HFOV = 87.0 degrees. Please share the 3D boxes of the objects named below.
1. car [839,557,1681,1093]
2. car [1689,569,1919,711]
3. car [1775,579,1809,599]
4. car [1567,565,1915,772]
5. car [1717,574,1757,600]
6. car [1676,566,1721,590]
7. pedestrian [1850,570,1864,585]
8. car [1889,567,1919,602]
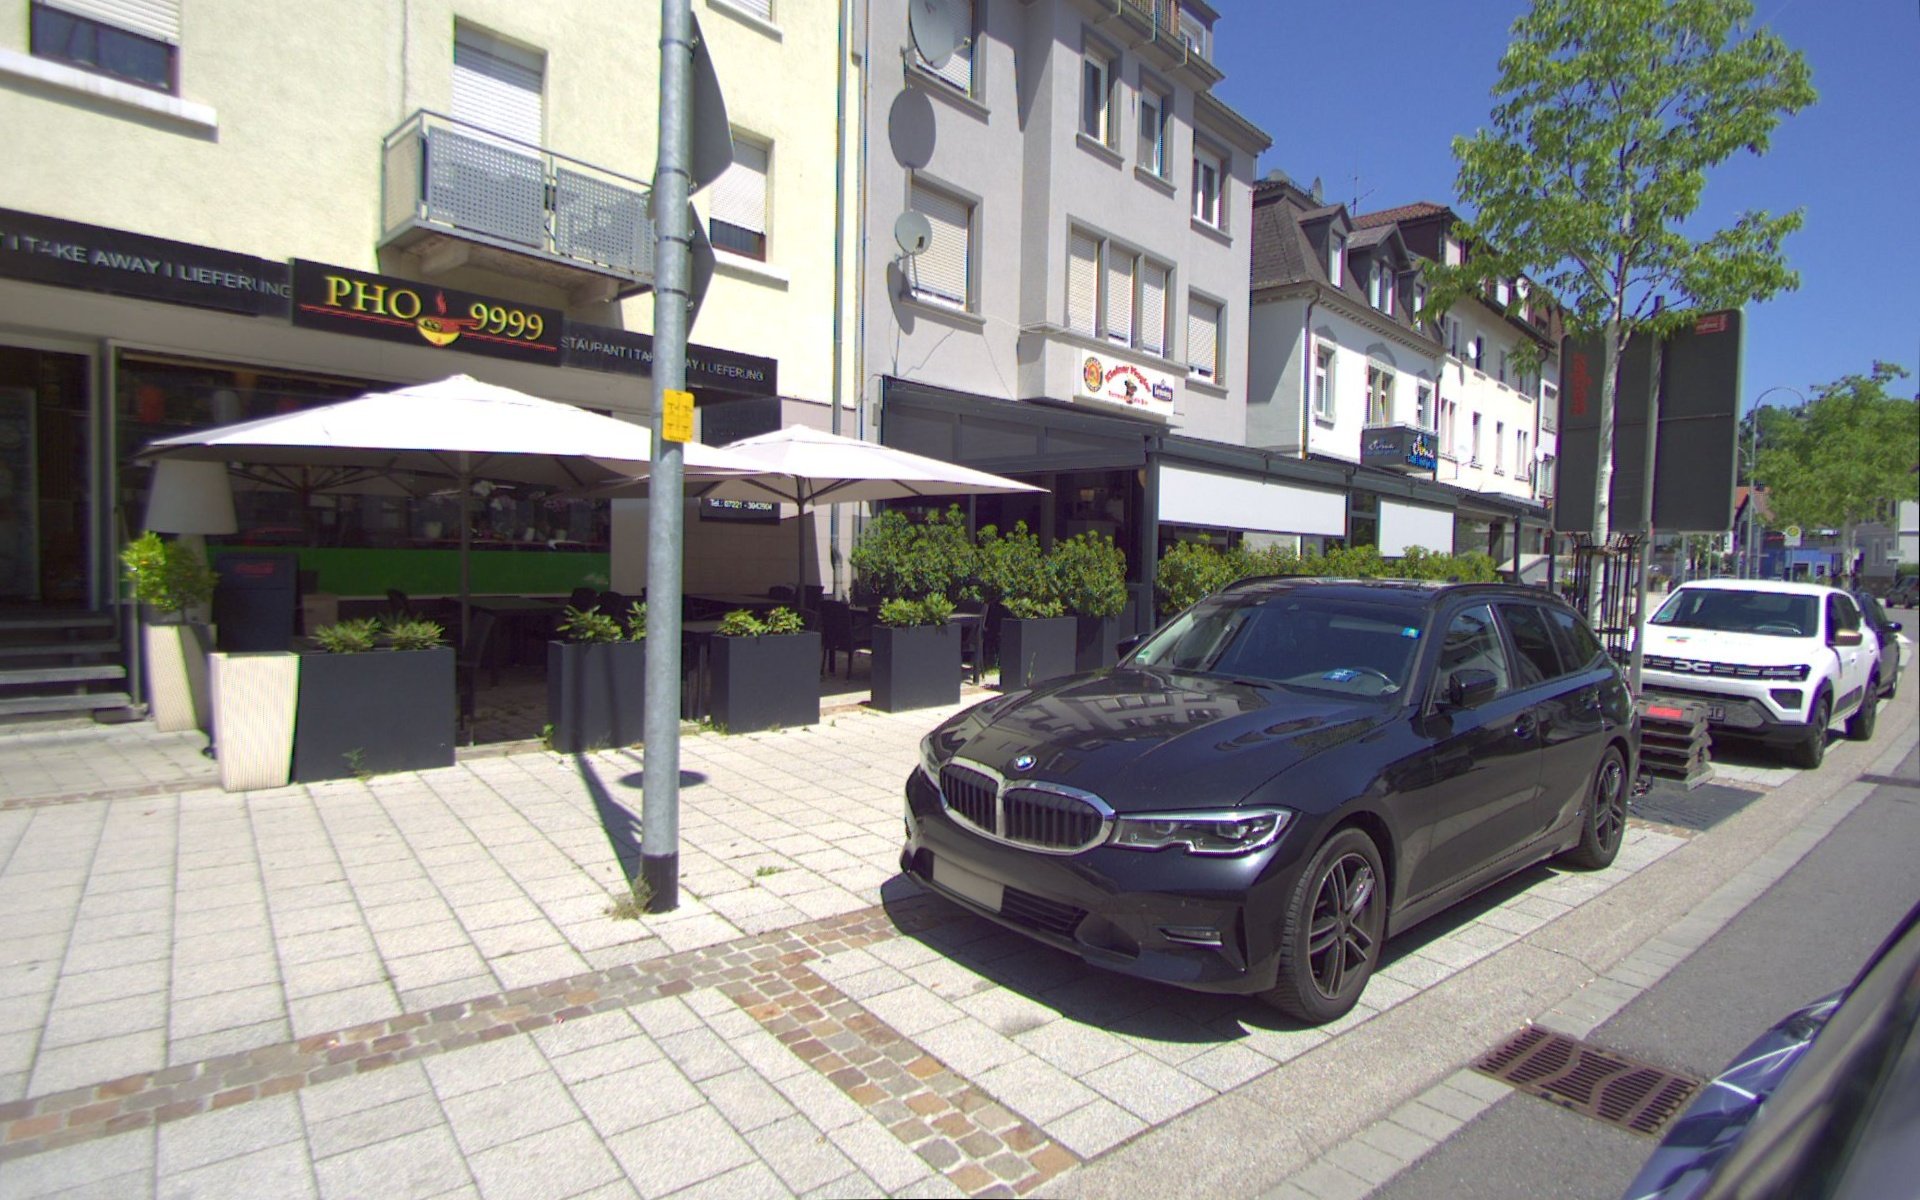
[{"bbox_3d":[1.786,0.558,4.871,4.529,1.422,1.727,-1,3,-41],"label":"car"},{"bbox_3d":[11.491,0.392,13.394,4.020,1.500,1.839,-1,5,-37],"label":"car"},{"bbox_3d":[59.855,-0.826,72.824,1.663,1.413,3.797,0,1,36],"label":"car"},{"bbox_3d":[7.578,0.474,9.693,3.982,1.503,1.742,-1,5,-40],"label":"car"},{"bbox_3d":[46.468,-0.779,60.583,1.673,1.533,3.345,0,1,34],"label":"car"},{"bbox_3d":[52.454,-1.580,71.940,1.718,1.490,4.287,4,4,25],"label":"car"},{"bbox_3d":[65.352,-1.668,73.751,0.592,1.072,0.562,1,2,25],"label":"pedestrian"},{"bbox_3d":[47.264,-0.763,48.975,1.925,1.679,4.207,0,2,21],"label":"car"}]
